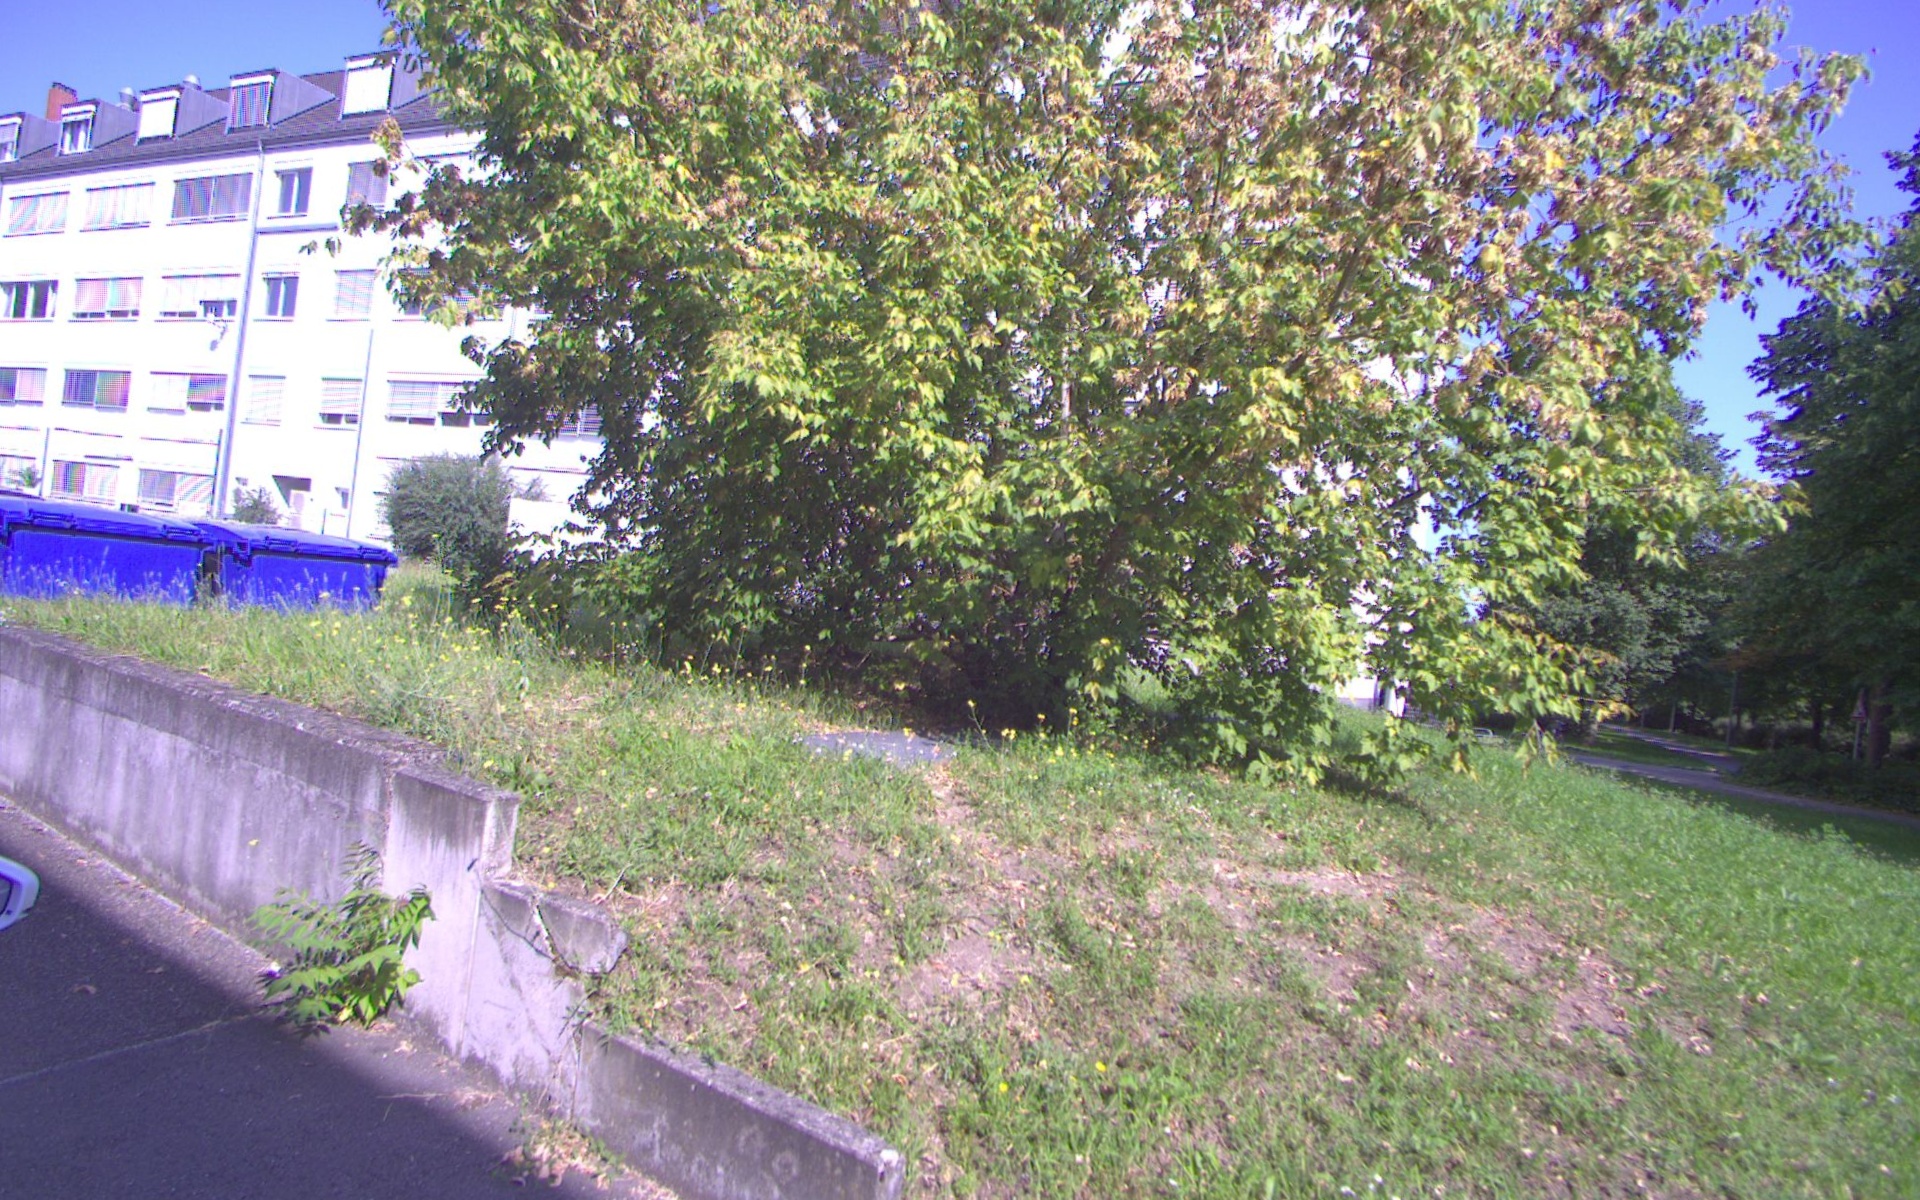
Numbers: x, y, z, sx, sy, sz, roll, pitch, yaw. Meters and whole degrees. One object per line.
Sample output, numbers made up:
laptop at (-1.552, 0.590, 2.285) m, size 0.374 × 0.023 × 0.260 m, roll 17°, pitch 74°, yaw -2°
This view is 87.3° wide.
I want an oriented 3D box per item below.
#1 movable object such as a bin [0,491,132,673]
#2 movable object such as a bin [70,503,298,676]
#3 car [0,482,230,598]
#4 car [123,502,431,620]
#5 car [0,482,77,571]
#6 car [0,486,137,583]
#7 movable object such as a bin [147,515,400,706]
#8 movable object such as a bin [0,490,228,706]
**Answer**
movable object such as a bin at (-7.687, -0.182, 7.968) m, size 1.174 × 1.356 × 1.303 m, roll 6°, pitch -1°, yaw 30°
movable object such as a bin at (-6.992, -0.079, 9.096) m, size 1.099 × 1.356 × 1.236 m, roll 6°, pitch -1°, yaw 34°
car at (-15.802, -1.071, 18.107) m, size 1.862 × 1.607 × 3.813 m, roll 6°, pitch -2°, yaw 21°
car at (-10.715, -0.560, 16.030) m, size 1.772 × 1.566 × 3.621 m, roll 6°, pitch 3°, yaw 28°
car at (-21.150, -1.748, 20.617) m, size 1.740 × 1.711 × 4.128 m, roll 6°, pitch -2°, yaw 27°
car at (-18.689, -1.400, 19.376) m, size 1.846 × 1.607 × 3.874 m, roll 6°, pitch -2°, yaw 25°
movable object such as a bin at (-5.565, 0.107, 8.211) m, size 1.057 × 1.356 × 1.229 m, roll 6°, pitch -1°, yaw 26°
movable object such as a bin at (-6.231, -0.011, 7.060) m, size 1.081 × 1.356 × 1.312 m, roll 6°, pitch -1°, yaw 27°
